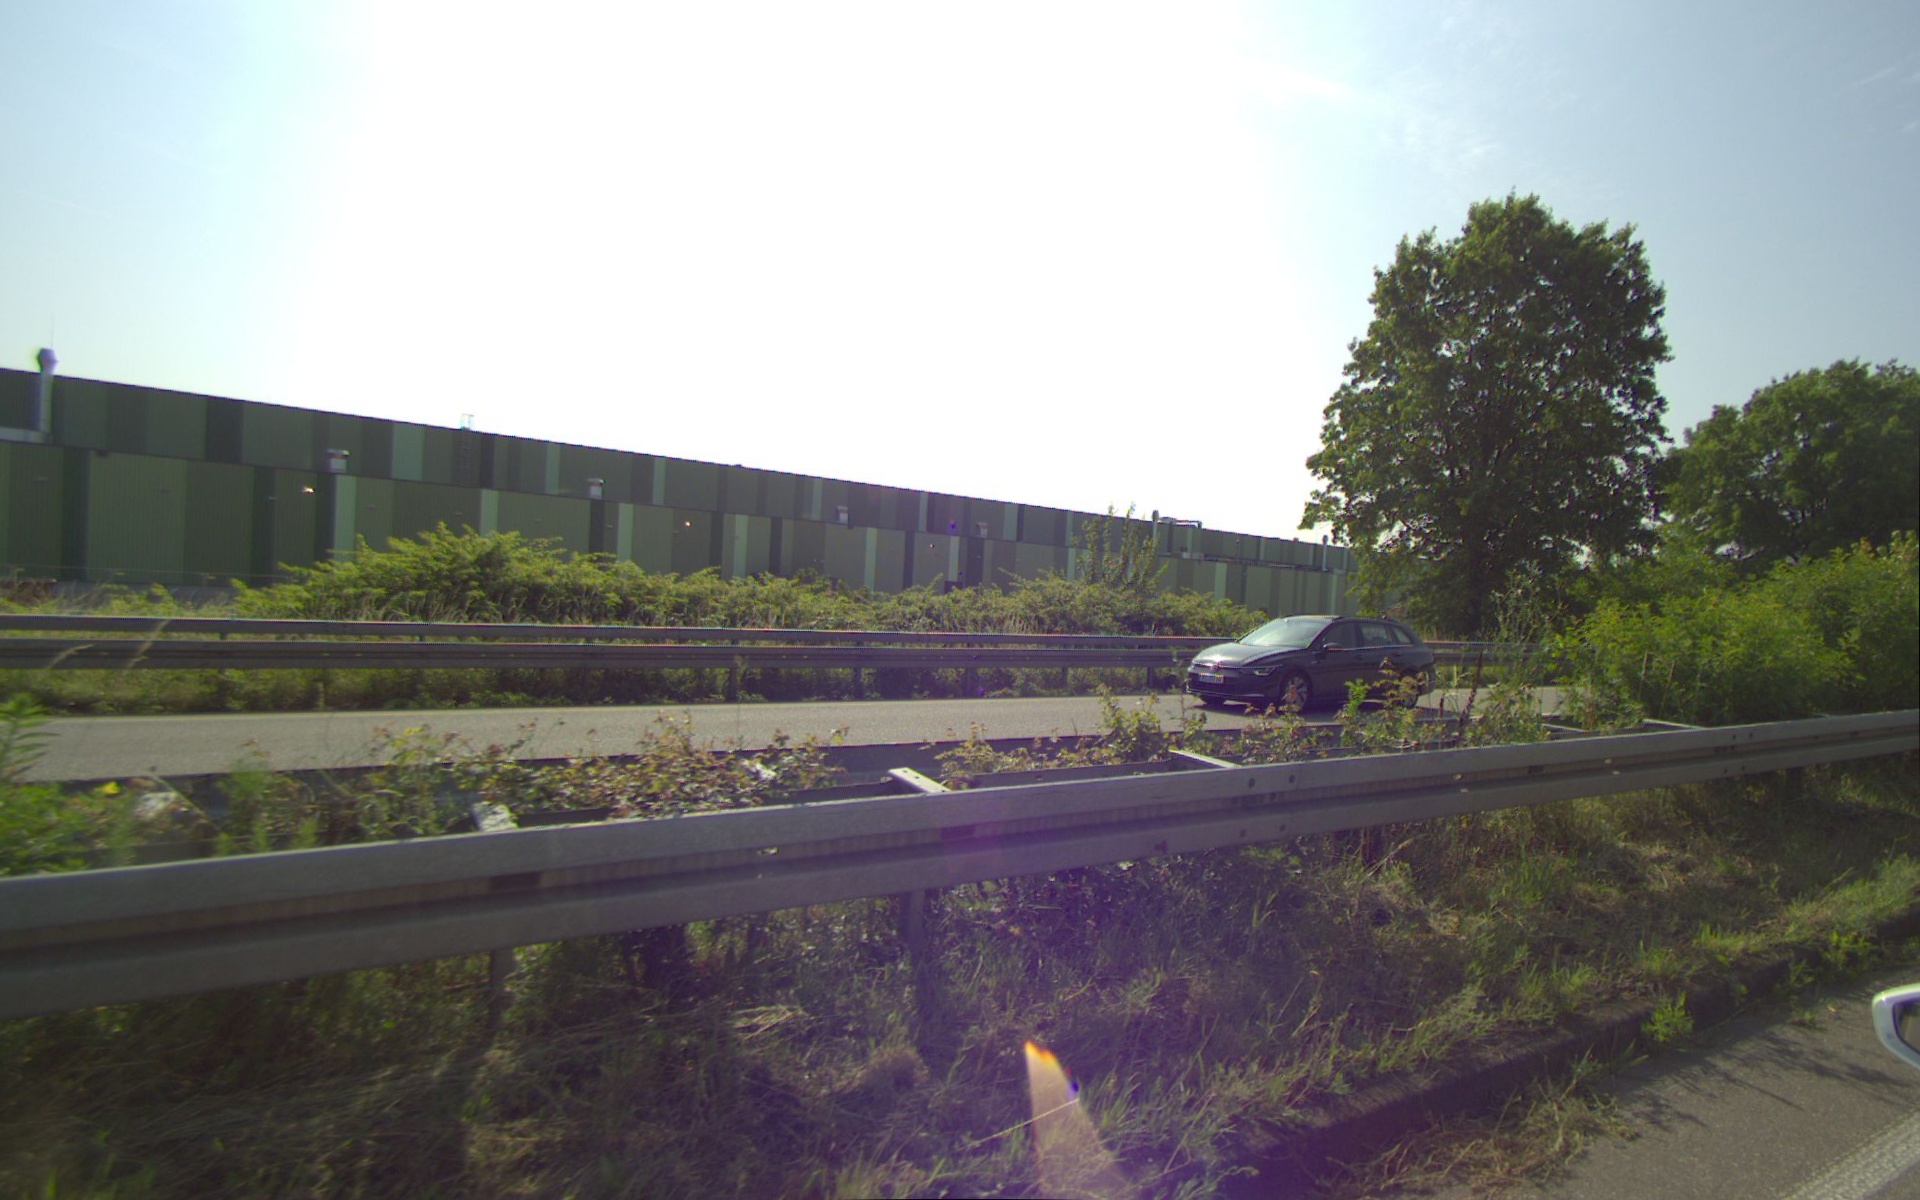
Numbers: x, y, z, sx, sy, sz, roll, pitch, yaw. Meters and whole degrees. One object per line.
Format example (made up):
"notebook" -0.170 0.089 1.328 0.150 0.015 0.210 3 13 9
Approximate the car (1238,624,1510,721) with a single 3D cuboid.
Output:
"car" 6.943 1.147 16.708 4.625 1.369 1.772 2 0 -31
